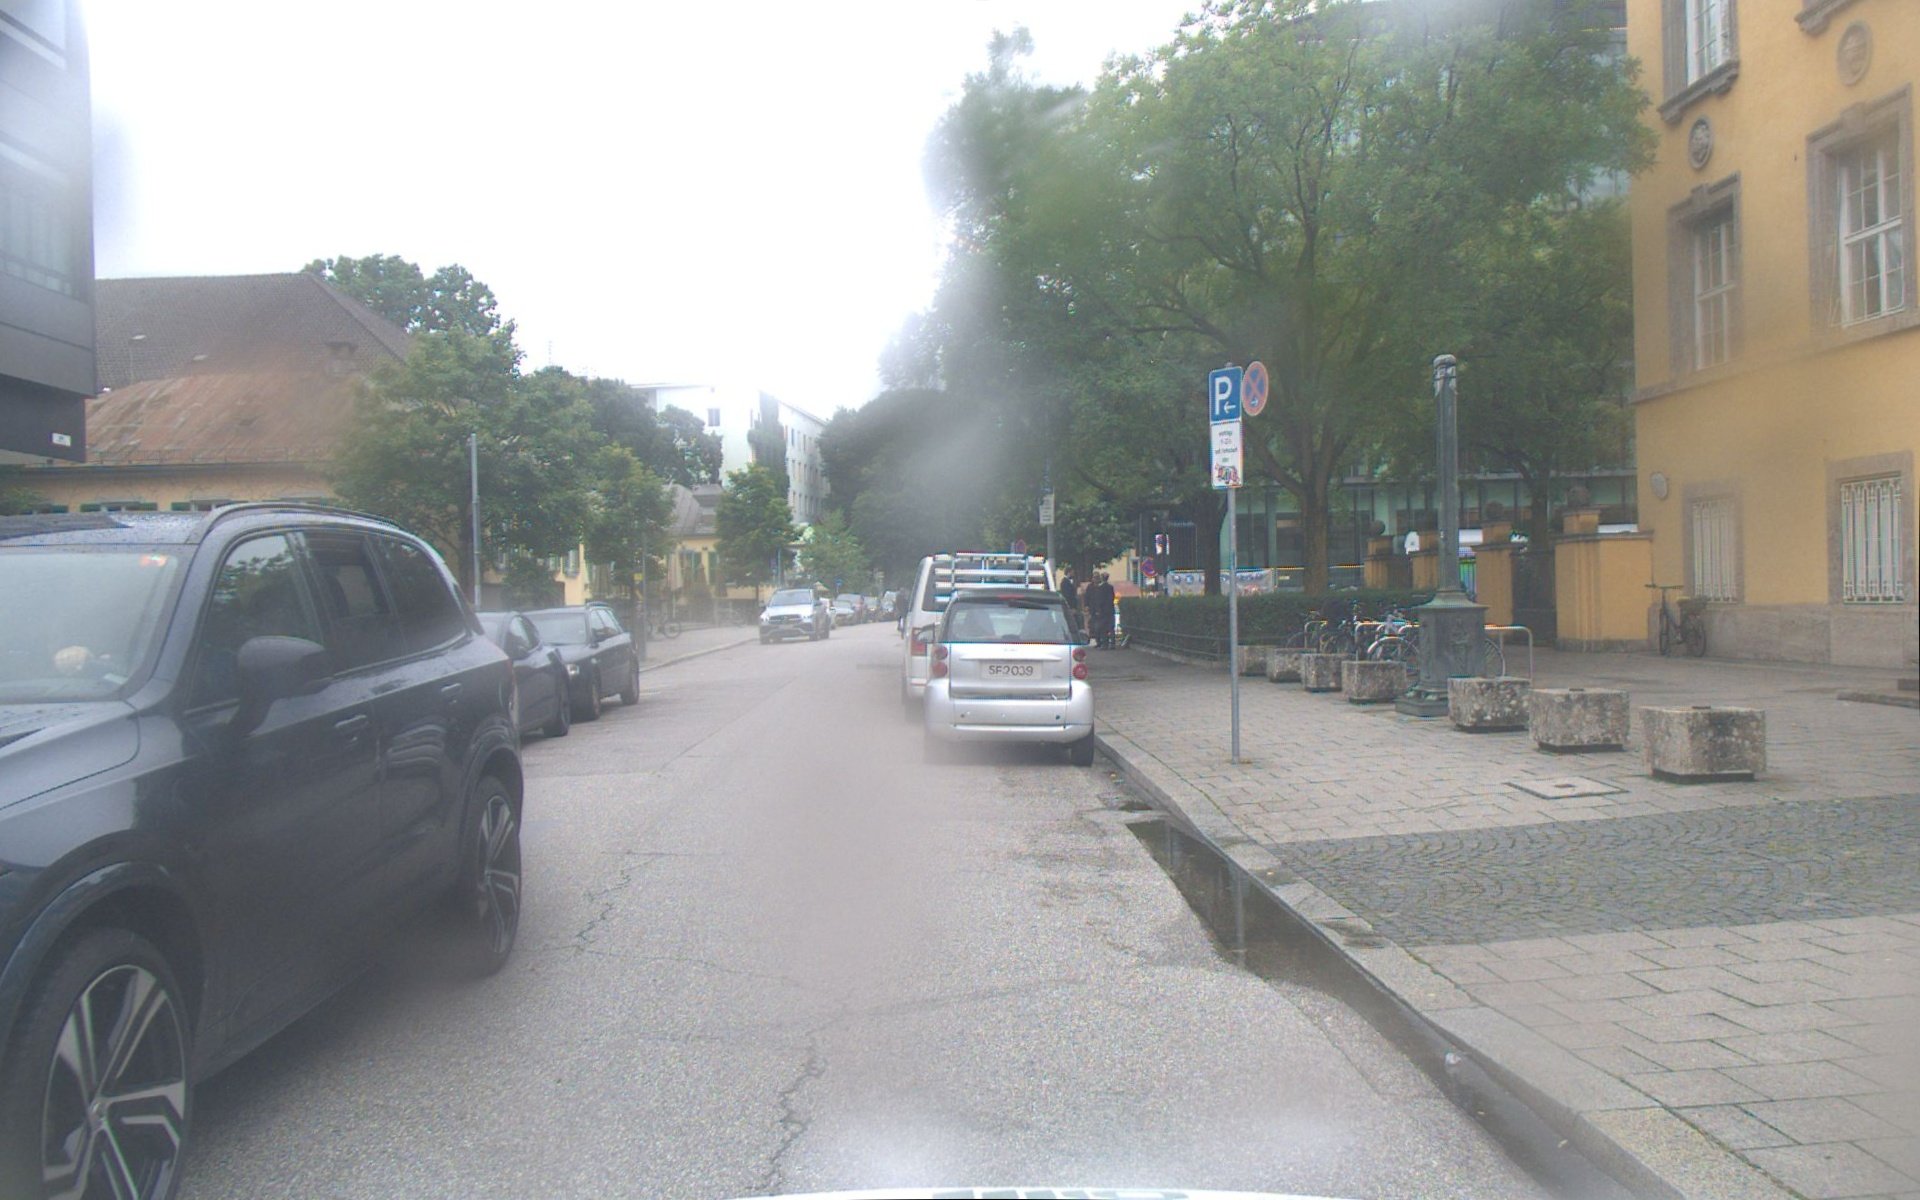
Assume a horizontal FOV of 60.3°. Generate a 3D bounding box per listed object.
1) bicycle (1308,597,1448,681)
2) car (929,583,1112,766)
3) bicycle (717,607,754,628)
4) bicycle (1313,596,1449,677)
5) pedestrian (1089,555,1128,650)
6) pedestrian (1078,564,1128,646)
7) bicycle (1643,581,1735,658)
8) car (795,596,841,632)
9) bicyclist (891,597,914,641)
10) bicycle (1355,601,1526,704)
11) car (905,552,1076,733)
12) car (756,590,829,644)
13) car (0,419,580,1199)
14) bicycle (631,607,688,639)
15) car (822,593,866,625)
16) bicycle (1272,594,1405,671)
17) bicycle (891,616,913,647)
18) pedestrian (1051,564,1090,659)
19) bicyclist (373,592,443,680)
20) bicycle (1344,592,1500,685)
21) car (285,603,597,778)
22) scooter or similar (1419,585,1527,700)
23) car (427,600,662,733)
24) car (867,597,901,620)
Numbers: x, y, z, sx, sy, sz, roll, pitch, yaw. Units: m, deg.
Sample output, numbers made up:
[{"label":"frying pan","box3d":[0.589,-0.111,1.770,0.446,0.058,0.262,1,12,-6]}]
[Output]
[{"label":"bicycle","box3d":[6.111,0.567,24.203,1.892,1.133,0.471,-3,0,0]},{"label":"car","box3d":[0.504,0.647,15.921,1.573,1.573,2.933,1,0,-1]},{"label":"bicycle","box3d":[-10.617,0.840,78.254,1.594,0.942,0.646,-1,-2,-26]},{"label":"bicycle","box3d":[6.353,0.550,25.001,1.892,1.133,0.471,-3,0,0]},{"label":"pedestrian","box3d":[3.463,0.059,38.637,0.727,2.172,1.055,-2,0,-2]},{"label":"pedestrian","box3d":[3.442,0.114,39.705,0.729,1.941,1.053,-2,0,34]},{"label":"bicycle","box3d":[11.608,0.289,26.398,0.531,1.174,1.901,-2,1,-2]},{"label":"car","box3d":[-6.722,0.657,78.575,1.698,1.609,3.788,2,0,2]},{"label":"bicyclist","box3d":[-1.892,0.622,54.473,0.690,1.418,0.868,1,-1,0]},{"label":"bicycle","box3d":[5.783,0.625,19.930,1.894,1.133,0.471,-3,0,-5]},{"label":"car","box3d":[0.256,0.464,21.015,1.808,1.967,5.270,1,0,-2]},{"label":"car","box3d":[-5.686,0.541,56.578,1.983,1.719,4.677,-2,0,0]},{"label":"car","box3d":[-2.673,0.583,4.989,1.921,1.711,4.910,-3,0,-1]},{"label":"bicycle","box3d":[-10.721,0.824,59.066,1.890,1.118,0.615,1,0,1]},{"label":"car","box3d":[-6.376,0.501,91.175,1.952,1.677,4.656,-1,0,1]},{"label":"bicycle","box3d":[6.060,0.515,26.481,1.992,1.133,0.471,-3,0,-5]},{"label":"bicycle","box3d":[-1.907,1.024,54.493,0.613,0.971,1.860,1,-1,0]},{"label":"pedestrian","box3d":[2.593,0.268,38.861,0.727,2.172,1.055,-2,0,-2]},{"label":"bicyclist","box3d":[-9.773,0.641,29.289,1.079,1.524,0.667,-1,-2,-28]},{"label":"bicycle","box3d":[6.107,0.497,21.884,1.892,1.133,0.471,-3,0,0]},{"label":"car","box3d":[-5.227,0.834,17.409,1.885,1.464,4.915,-3,0,-3]},{"label":"scooter or similar","box3d":[5.776,0.479,18.638,0.995,1.243,0.534,-2,0,44]},{"label":"car","box3d":[-5.520,0.815,22.663,1.953,1.516,4.883,-3,0,0]},{"label":"car","box3d":[-5.222,0.562,114.140,1.952,1.512,4.002,-1,0,3]}]
